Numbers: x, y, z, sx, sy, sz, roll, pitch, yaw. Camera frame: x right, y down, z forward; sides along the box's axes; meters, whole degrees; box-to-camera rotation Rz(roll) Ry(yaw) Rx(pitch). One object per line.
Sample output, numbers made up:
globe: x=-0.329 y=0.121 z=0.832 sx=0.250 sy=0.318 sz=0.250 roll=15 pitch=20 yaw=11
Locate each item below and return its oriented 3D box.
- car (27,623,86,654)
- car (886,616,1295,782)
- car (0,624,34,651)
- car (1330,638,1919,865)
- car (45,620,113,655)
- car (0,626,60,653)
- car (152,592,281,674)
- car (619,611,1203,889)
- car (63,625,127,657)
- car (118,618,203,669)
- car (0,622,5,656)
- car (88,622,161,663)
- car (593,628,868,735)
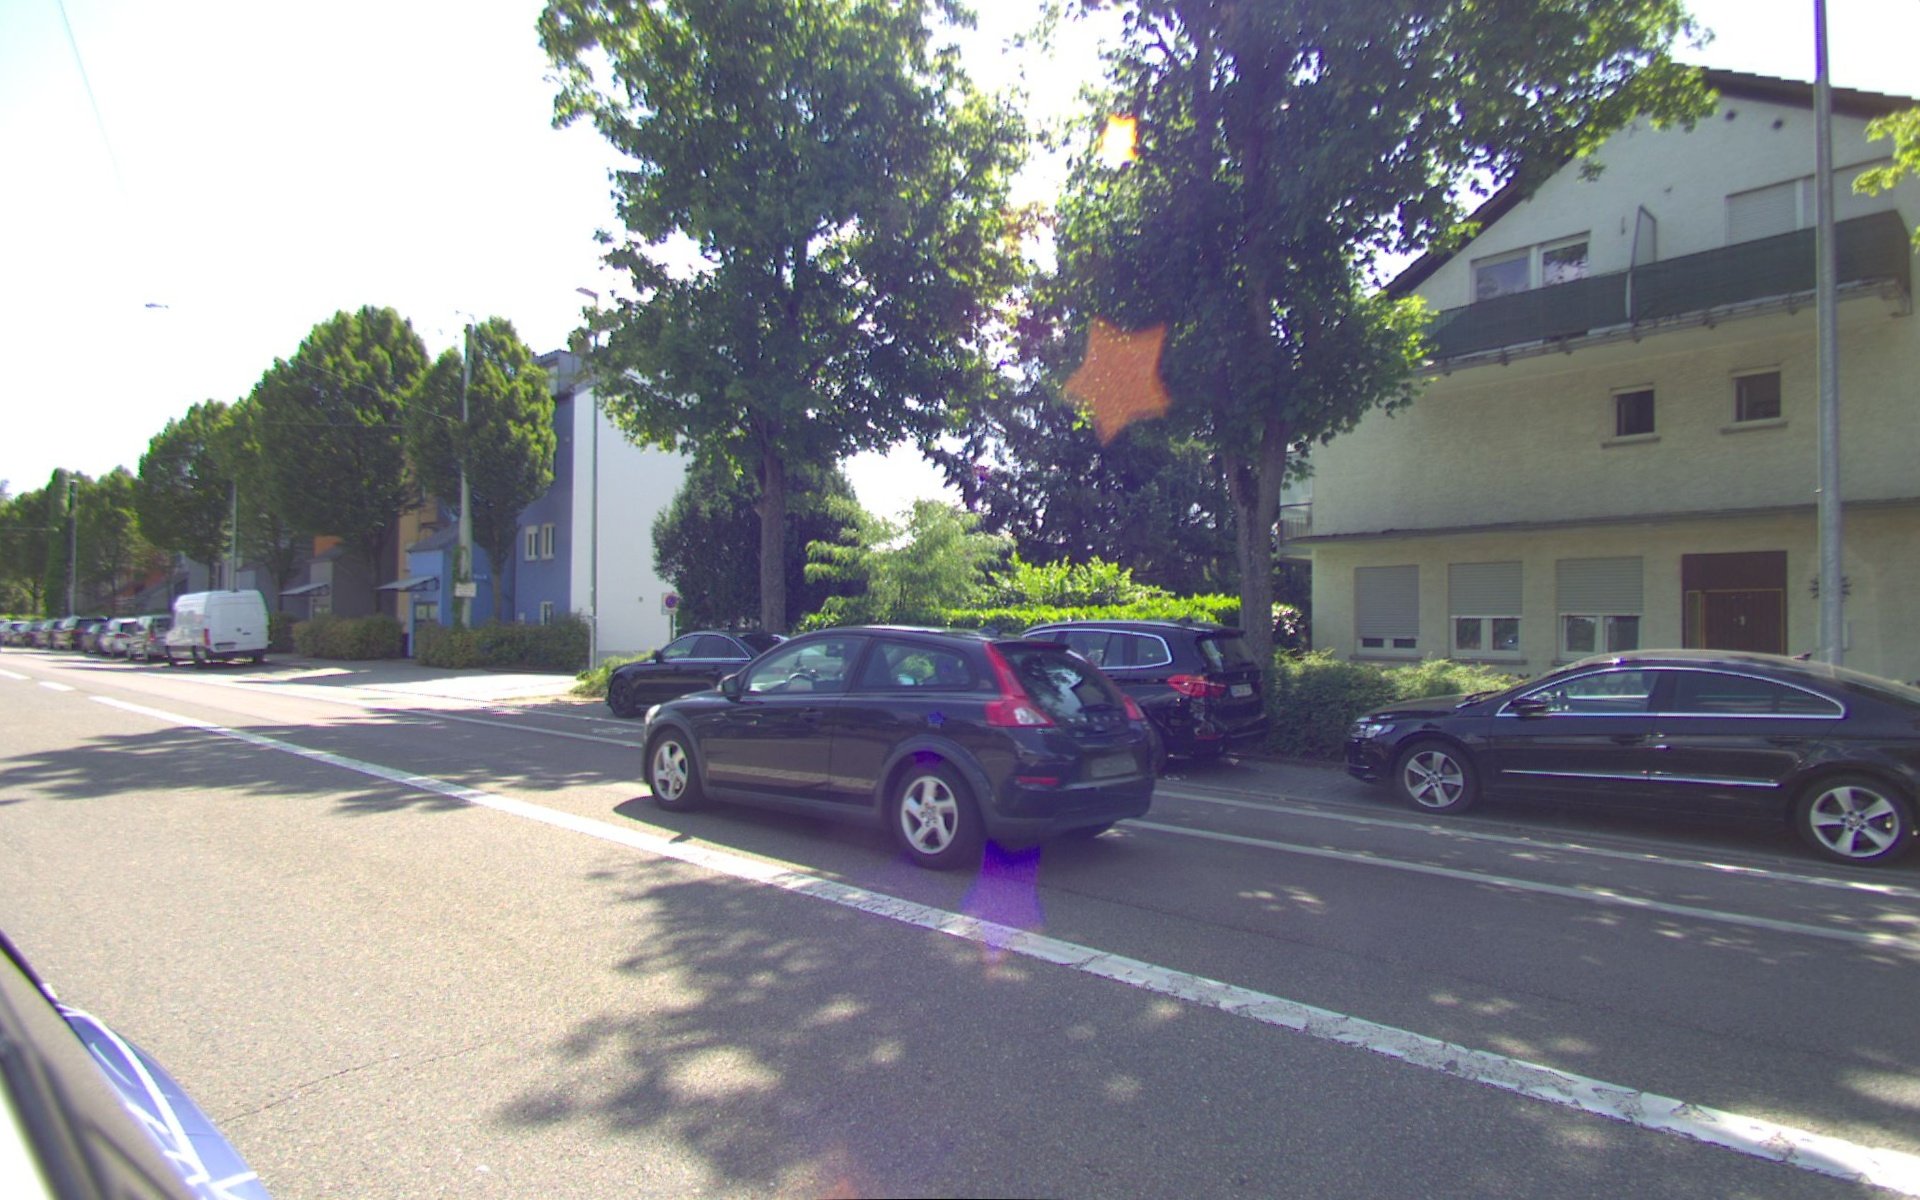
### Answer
car: x=-50.030 y=2.115 z=56.019 sx=4.279 sy=1.630 sz=1.640 roll=0 pitch=-3 yaw=38
car: x=1.399 y=1.015 z=12.088 sx=4.633 sy=1.616 sz=1.757 roll=-1 pitch=-1 yaw=40
car: x=-59.884 y=2.305 z=63.468 sx=4.884 sy=1.519 sz=1.641 roll=0 pitch=1 yaw=35
car: x=5.665 y=1.051 z=8.206 sx=4.692 sy=1.383 sz=1.757 roll=-1 pitch=0 yaw=40
car: x=-45.807 y=1.958 z=52.585 sx=4.881 sy=1.729 sz=1.734 roll=-2 pitch=-3 yaw=38
car: x=-54.908 y=2.300 z=59.712 sx=4.955 sy=1.457 sz=1.726 roll=-1 pitch=-1 yaw=37
car: x=-27.305 y=1.164 z=37.037 sx=7.032 sy=2.671 sz=2.299 roll=-2 pitch=1 yaw=42
car: x=-0.514 y=0.846 z=7.092 sx=4.002 sy=1.409 sz=1.661 roll=-1 pitch=-5 yaw=40
car: x=-42.022 y=1.961 z=49.142 sx=4.082 sy=1.482 sz=1.583 roll=-1 pitch=-2 yaw=38
car: x=-33.236 y=1.757 z=42.026 sx=5.359 sy=1.909 sz=1.788 roll=-1 pitch=0 yaw=41
car: x=-43.835 y=1.684 z=44.574 sx=4.185 sy=1.471 sz=1.759 roll=-1 pitch=-4 yaw=35
car: x=-37.938 y=1.896 z=45.908 sx=4.899 sy=1.765 sz=1.699 roll=-1 pitch=-2 yaw=40
car: x=-3.801 y=1.198 z=16.257 sx=4.799 sy=1.467 sz=1.757 roll=-1 pitch=-2 yaw=40
